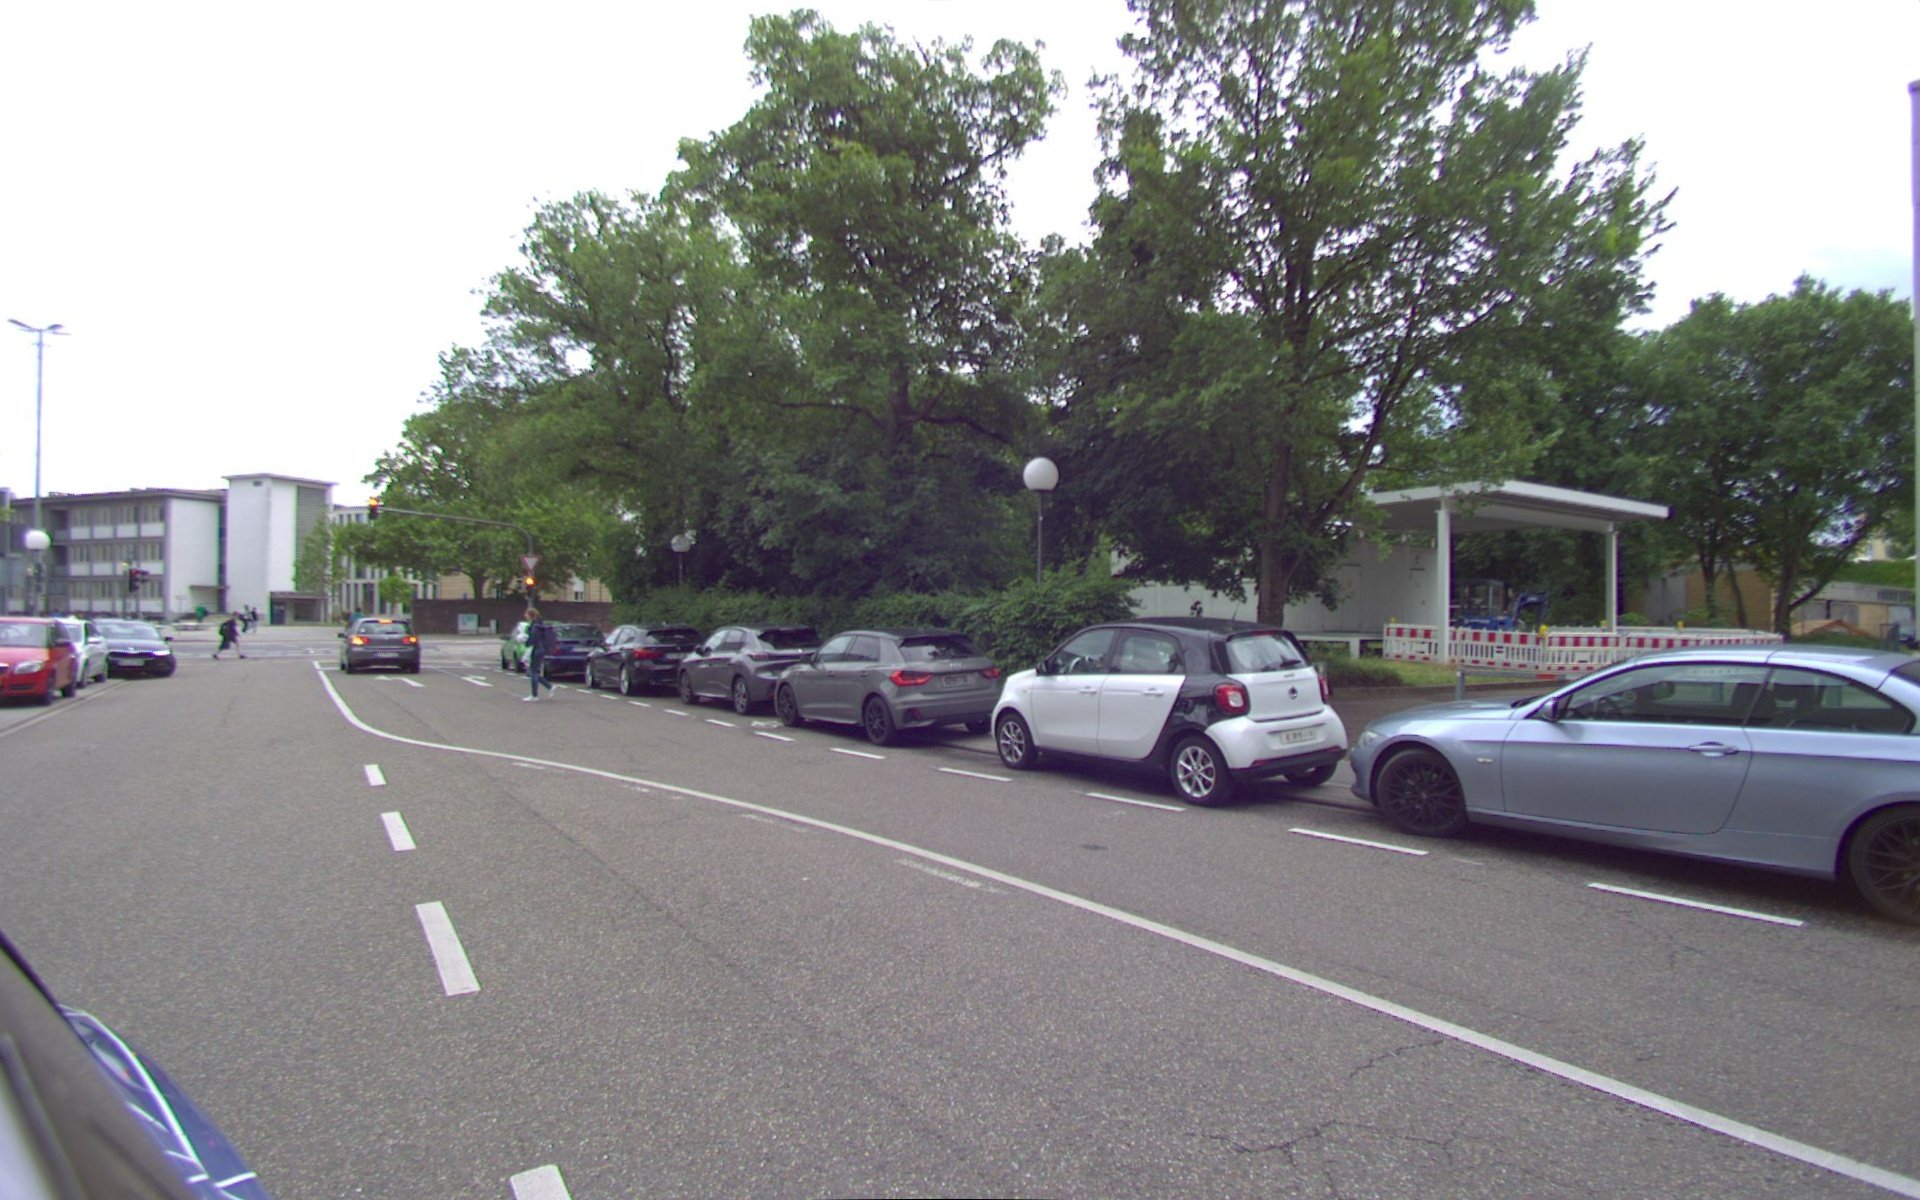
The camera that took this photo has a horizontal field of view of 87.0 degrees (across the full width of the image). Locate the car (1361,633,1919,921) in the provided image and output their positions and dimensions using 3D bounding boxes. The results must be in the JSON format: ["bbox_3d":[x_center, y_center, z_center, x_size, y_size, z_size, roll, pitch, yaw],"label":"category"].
[{"bbox_3d":[4.961,0.933,6.387,1.794,1.399,4.203,1,-1,-37],"label":"car"}]

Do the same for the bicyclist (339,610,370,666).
[{"bbox_3d":[-19.823,1.228,33.128,0.649,1.793,0.985,2,-2,-41],"label":"bicyclist"}]

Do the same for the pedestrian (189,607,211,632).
[{"bbox_3d":[-53.378,1.367,71.071,0.902,1.727,0.942,0,-1,30],"label":"pedestrian"}]

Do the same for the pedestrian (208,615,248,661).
[{"bbox_3d":[-26.168,1.349,36.177,0.657,1.632,1.029,0,-1,42],"label":"pedestrian"}]

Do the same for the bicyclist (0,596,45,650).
[{"bbox_3d":[-29.395,0.725,31.593,0.865,1.653,0.866,0,-2,6],"label":"bicyclist"}]

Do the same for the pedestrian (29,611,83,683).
[{"bbox_3d":[-23.108,1.194,25.881,0.780,1.801,0.824,1,-1,-22],"label":"pedestrian"}]

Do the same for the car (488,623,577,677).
[{"bbox_3d":[-12.935,1.453,30.484,1.773,1.481,4.260,2,-2,-32],"label":"car"}]

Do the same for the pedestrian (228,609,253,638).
[{"bbox_3d":[-44.671,1.470,62.821,0.886,1.802,0.842,0,-2,13],"label":"pedestrian"}]

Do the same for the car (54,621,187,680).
[{"bbox_3d":[-22.113,1.303,26.602,4.475,1.412,1.842,-1,-4,40],"label":"car"}]

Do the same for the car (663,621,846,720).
[{"bbox_3d":[-3.649,1.129,17.478,1.738,1.482,3.834,2,-2,-34],"label":"car"}]

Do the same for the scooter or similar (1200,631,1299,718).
[{"bbox_3d":[4.123,1.050,14.461,1.290,1.219,0.450,0,-1,7],"label":"scooter or similar"}]

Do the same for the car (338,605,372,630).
[{"bbox_3d":[-57.625,1.681,96.455,1.967,1.593,4.416,-8,-5,-22],"label":"car"}]

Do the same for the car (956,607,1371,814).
[{"bbox_3d":[1.770,0.912,9.932,1.693,1.598,3.887,1,-2,-35],"label":"car"}]

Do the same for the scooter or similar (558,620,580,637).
[{"bbox_3d":[-28.015,2.046,72.577,1.389,1.239,0.496,1,0,-15],"label":"scooter or similar"}]

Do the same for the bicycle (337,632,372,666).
[{"bbox_3d":[-19.828,1.597,33.125,0.649,1.045,1.860,2,-2,-41],"label":"bicycle"}]

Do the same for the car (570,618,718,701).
[{"bbox_3d":[-6.864,1.215,21.661,1.773,1.573,4.542,2,-2,-34],"label":"car"}]

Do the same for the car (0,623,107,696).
[{"bbox_3d":[-20.285,1.242,22.308,1.835,1.464,3.869,1,-1,-34],"label":"car"}]

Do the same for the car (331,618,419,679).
[{"bbox_3d":[-16.095,1.276,27.746,1.759,1.508,4.179,2,-2,-34],"label":"car"}]

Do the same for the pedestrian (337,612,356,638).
[{"bbox_3d":[-39.672,1.608,65.466,0.796,1.677,0.793,0,-2,-9],"label":"pedestrian"}]

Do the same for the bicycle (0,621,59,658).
[{"bbox_3d":[-29.398,1.224,31.570,0.865,1.101,1.797,0,-2,6],"label":"bicycle"}]

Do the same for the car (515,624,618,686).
[{"bbox_3d":[-10.231,1.349,26.109,1.773,1.419,4.349,2,-1,-30],"label":"car"}]

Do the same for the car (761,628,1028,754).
[{"bbox_3d":[-1.031,1.093,13.645,1.740,1.422,4.018,1,-2,-36],"label":"car"}]

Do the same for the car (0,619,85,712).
[{"bbox_3d":[-16.825,1.075,17.727,1.689,1.484,4.285,4,-3,-34],"label":"car"}]

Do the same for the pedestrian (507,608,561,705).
[{"bbox_3d":[-7.670,1.005,18.211,0.728,1.674,0.971,2,-3,-31],"label":"pedestrian"}]

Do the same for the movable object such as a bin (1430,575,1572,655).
[{"bbox_3d":[16.068,0.512,29.956,4.594,2.188,2.004,3,-2,-38],"label":"movable object such as a bin"}]
